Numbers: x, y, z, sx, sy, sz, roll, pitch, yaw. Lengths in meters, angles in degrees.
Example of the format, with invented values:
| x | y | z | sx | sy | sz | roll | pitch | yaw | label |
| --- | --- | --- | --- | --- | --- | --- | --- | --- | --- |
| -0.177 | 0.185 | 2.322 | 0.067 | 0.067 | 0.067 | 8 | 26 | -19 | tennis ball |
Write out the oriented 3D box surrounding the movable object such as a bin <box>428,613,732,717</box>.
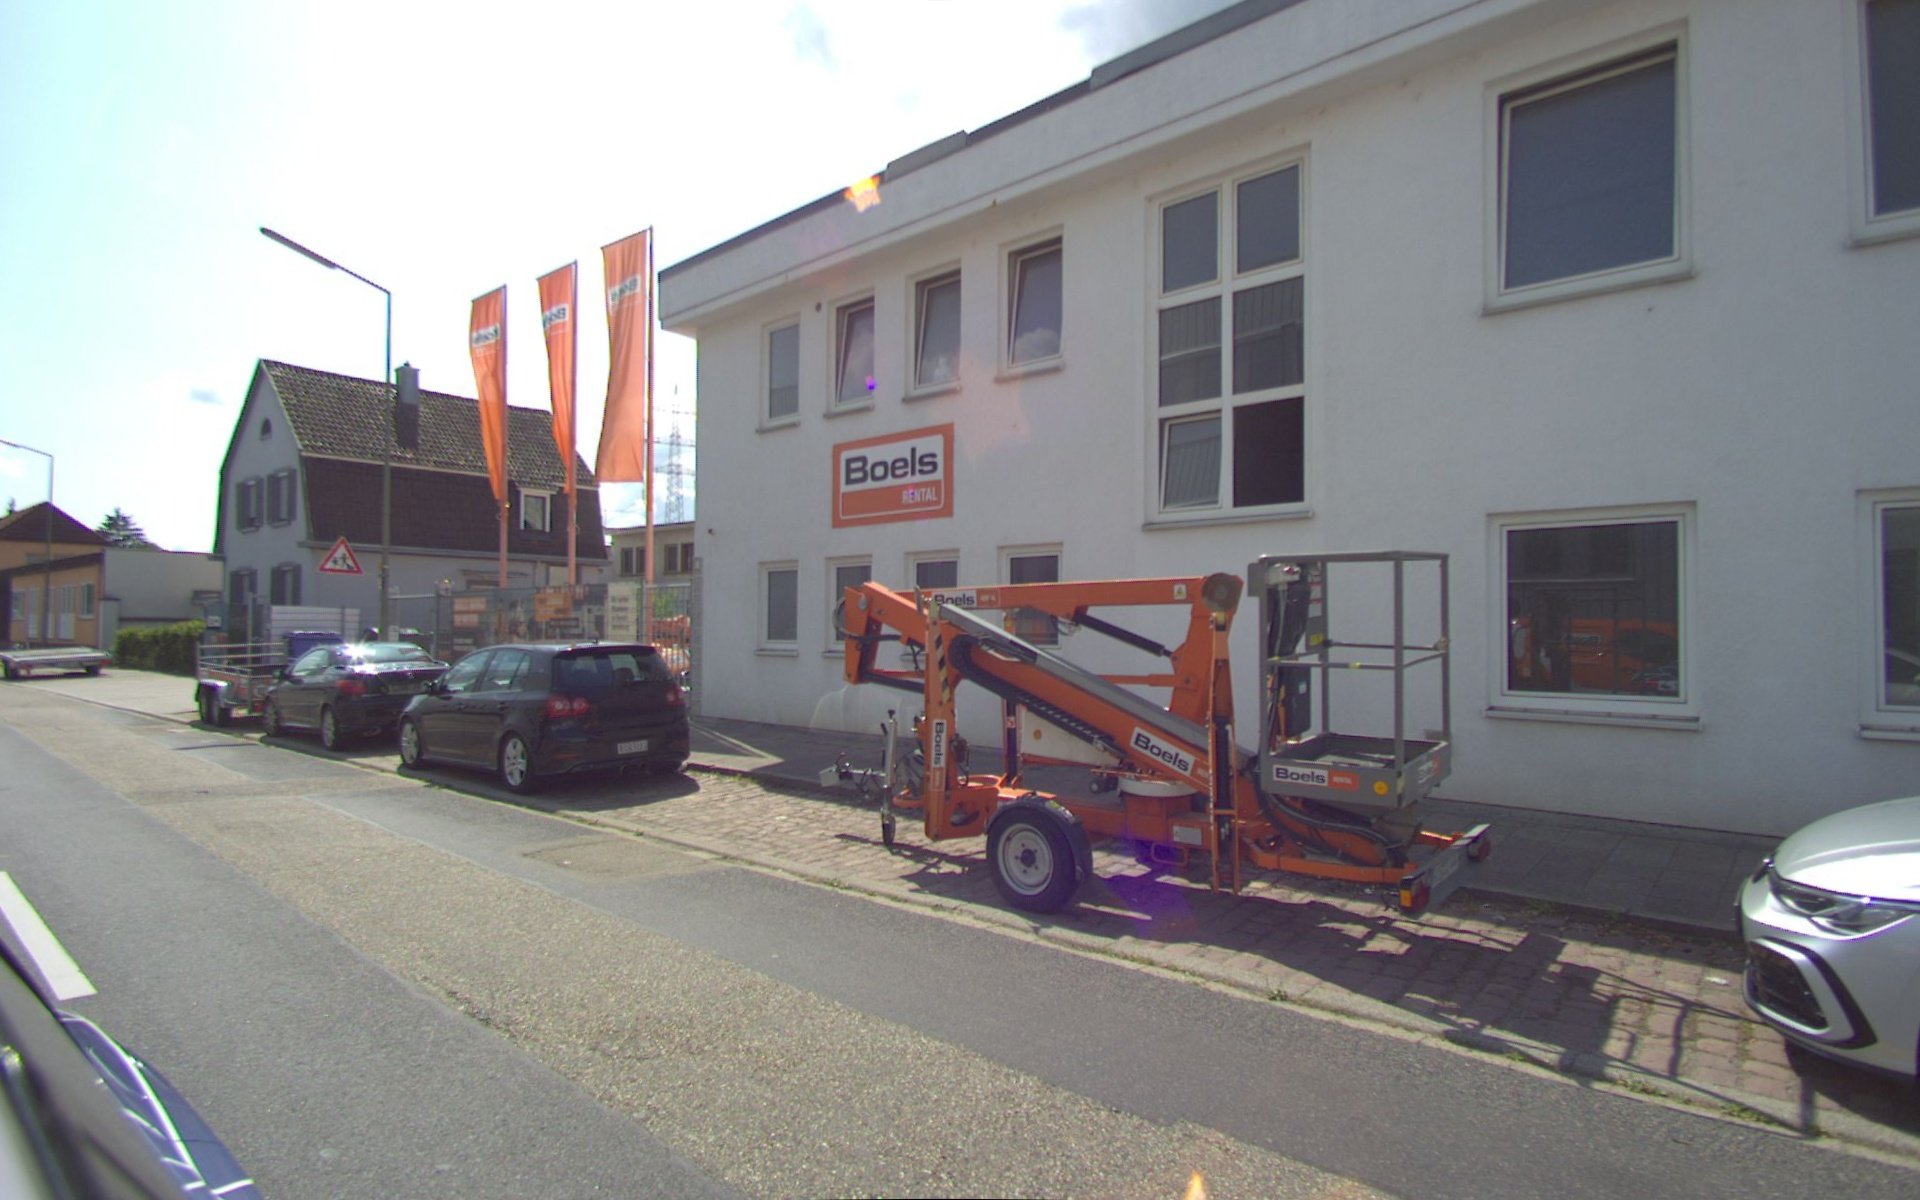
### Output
| x | y | z | sx | sy | sz | roll | pitch | yaw | label |
| --- | --- | --- | --- | --- | --- | --- | --- | --- | --- |
| -8.448 | 1.348 | 23.406 | 1.900 | 2.020 | 6.805 | -1 | -1 | 33 | movable object such as a bin |

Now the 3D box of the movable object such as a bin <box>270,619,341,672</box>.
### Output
| x | y | z | sx | sy | sz | roll | pitch | yaw | label |
| --- | --- | --- | --- | --- | --- | --- | --- | --- | --- |
| -18.180 | 1.258 | 28.128 | 1.186 | 1.438 | 1.304 | -1 | -2 | 36 | movable object such as a bin |

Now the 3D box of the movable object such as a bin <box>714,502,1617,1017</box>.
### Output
| x | y | z | sx | sy | sz | roll | pitch | yaw | label |
| --- | --- | --- | --- | --- | --- | --- | --- | --- | --- |
| 0.770 | 0.619 | 6.073 | 5.134 | 1.933 | 1.597 | -2 | 1 | 41 | movable object such as a bin |

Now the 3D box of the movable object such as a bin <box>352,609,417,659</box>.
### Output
| x | y | z | sx | sy | sz | roll | pitch | yaw | label |
| --- | --- | --- | --- | --- | --- | --- | --- | --- | --- |
| -16.941 | 0.997 | 29.802 | 1.149 | 1.438 | 1.304 | -1 | -2 | 36 | movable object such as a bin |

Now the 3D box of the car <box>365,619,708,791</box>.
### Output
| x | y | z | sx | sy | sz | roll | pitch | yaw | label |
| --- | --- | --- | --- | --- | --- | --- | --- | --- | --- |
| -4.655 | 0.953 | 10.838 | 4.221 | 1.466 | 1.656 | -1 | 0 | 40 | car |

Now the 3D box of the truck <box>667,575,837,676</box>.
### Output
| x | y | z | sx | sy | sz | roll | pitch | yaw | label |
| --- | --- | --- | --- | --- | --- | --- | --- | --- | --- |
| -6.984 | 0.891 | 34.661 | 2.491 | 3.167 | 5.510 | -1 | -2 | 35 | truck |

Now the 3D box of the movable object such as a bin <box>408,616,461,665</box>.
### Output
| x | y | z | sx | sy | sz | roll | pitch | yaw | label |
| --- | --- | --- | --- | --- | --- | --- | --- | --- | --- |
| -15.977 | 1.234 | 30.771 | 1.003 | 1.454 | 1.076 | -1 | -2 | 38 | movable object such as a bin |

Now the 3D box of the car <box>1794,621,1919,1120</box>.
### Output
| x | y | z | sx | sy | sz | roll | pitch | yaw | label |
| --- | --- | --- | --- | --- | --- | --- | --- | --- | --- |
| 4.910 | 0.804 | 2.376 | 4.511 | 1.466 | 1.656 | -1 | 0 | 41 | car |

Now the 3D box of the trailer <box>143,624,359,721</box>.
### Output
| x | y | z | sx | sy | sz | roll | pitch | yaw | label |
| --- | --- | --- | --- | --- | --- | --- | --- | --- | --- |
| -12.210 | 1.127 | 17.293 | 5.046 | 1.387 | 1.750 | -1 | 0 | 40 | trailer |

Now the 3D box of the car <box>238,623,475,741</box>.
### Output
| x | y | z | sx | sy | sz | roll | pitch | yaw | label |
| --- | --- | --- | --- | --- | --- | --- | --- | --- | --- |
| -8.537 | 1.039 | 14.202 | 3.880 | 1.387 | 1.656 | -1 | 0 | 39 | car |

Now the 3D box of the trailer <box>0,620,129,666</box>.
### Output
| x | y | z | sx | sy | sz | roll | pitch | yaw | label |
| --- | --- | --- | --- | --- | --- | --- | --- | --- | --- |
| -26.957 | 1.207 | 30.117 | 6.048 | 1.173 | 2.426 | -1 | 0 | 40 | trailer |
